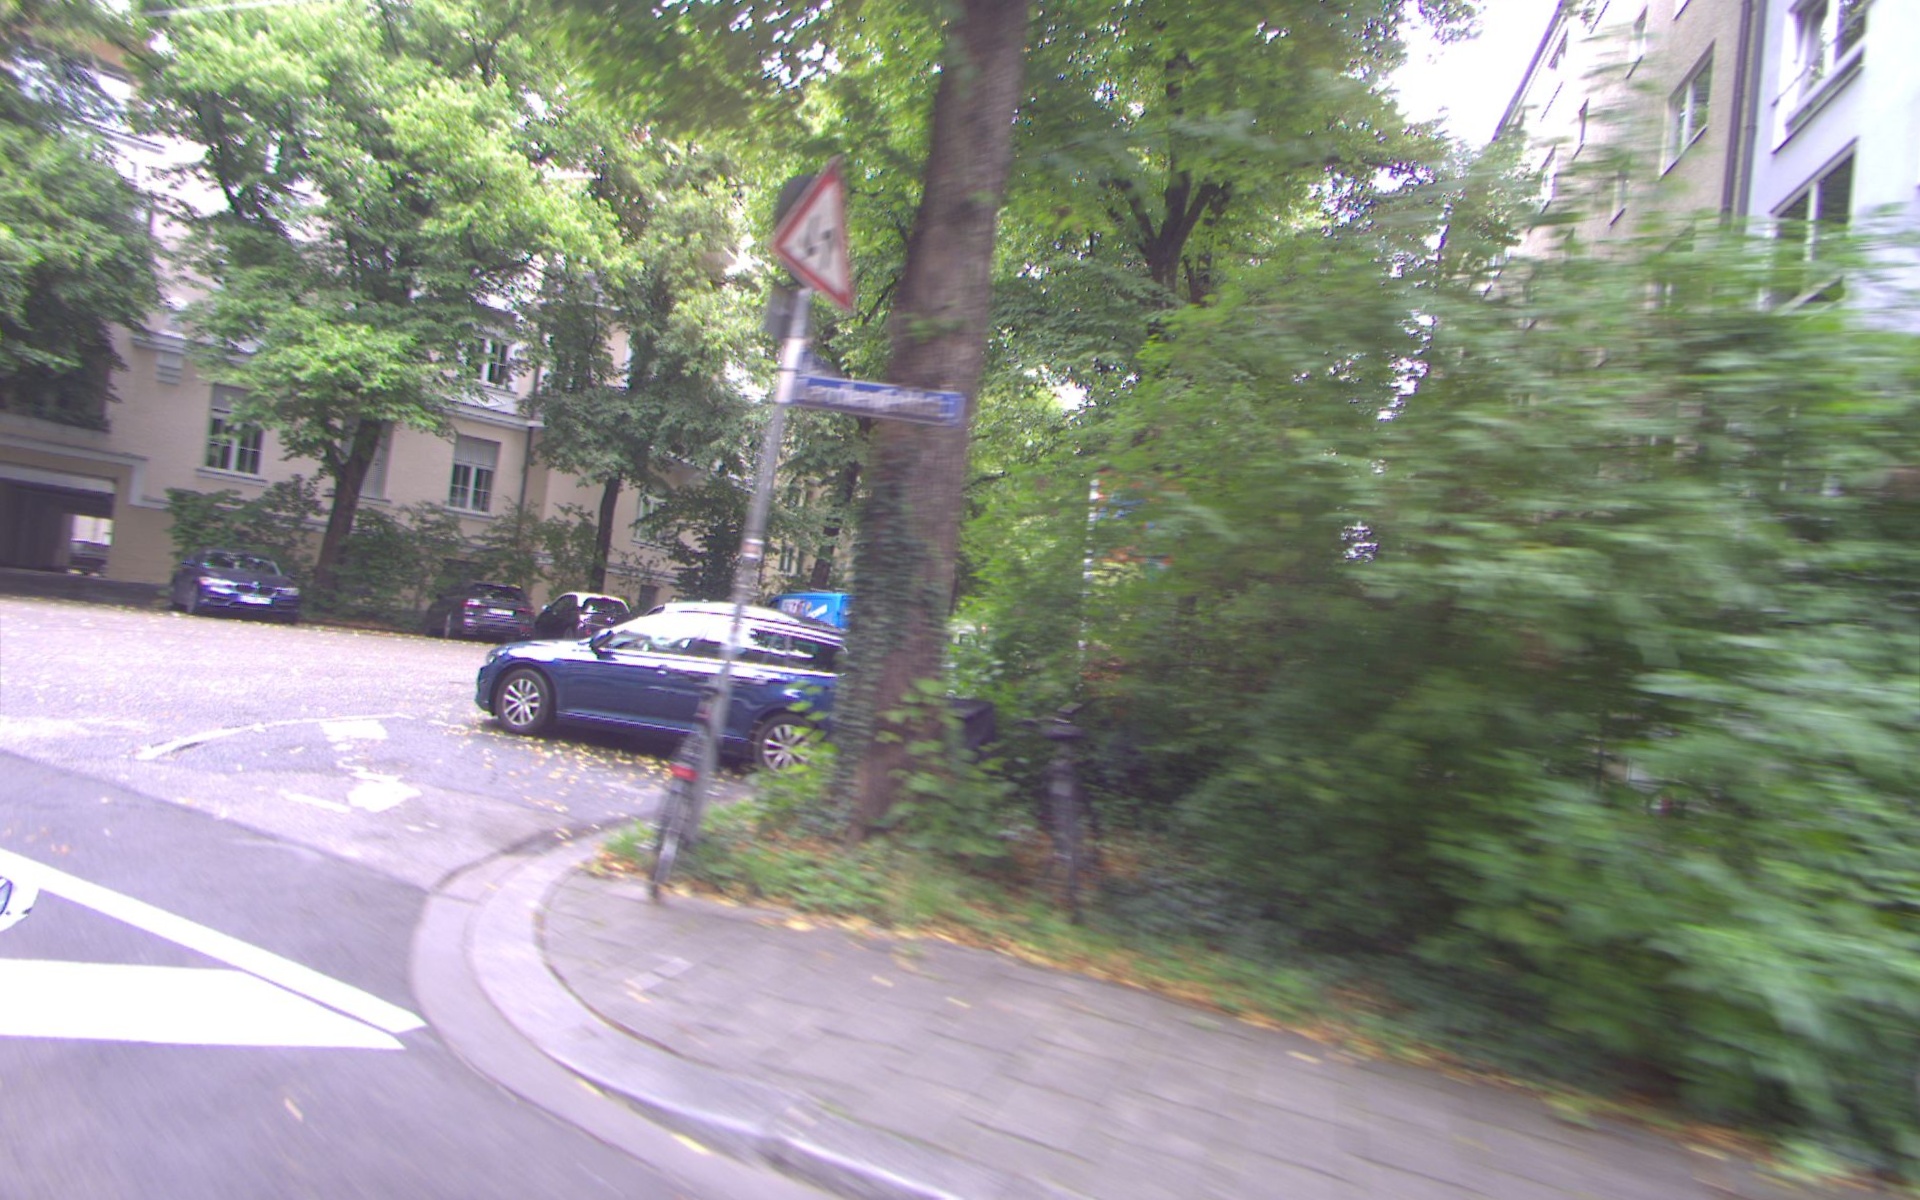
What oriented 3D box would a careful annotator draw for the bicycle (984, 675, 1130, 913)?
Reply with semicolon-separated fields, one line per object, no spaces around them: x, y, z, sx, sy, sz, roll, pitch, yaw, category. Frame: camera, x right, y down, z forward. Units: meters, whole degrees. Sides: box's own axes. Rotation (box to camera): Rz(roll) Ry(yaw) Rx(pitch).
0.571;1.012;5.767;0.594;1.068;1.637;7;-2;7;bicycle

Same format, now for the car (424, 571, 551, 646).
-11.244;0.212;23.797;1.848;1.441;4.126;8;-5;-36;car

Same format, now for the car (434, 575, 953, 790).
-2.606;0.782;10.314;4.643;1.393;1.963;7;-2;12;car

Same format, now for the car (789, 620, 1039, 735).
-0.741;1.332;17.724;4.017;1.410;1.737;7;-2;8;car

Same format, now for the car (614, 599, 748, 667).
-7.592;0.893;27.097;1.790;1.529;4.244;8;-6;-39;car

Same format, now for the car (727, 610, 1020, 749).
-1.227;1.156;15.101;3.873;1.464;1.829;7;-2;12;car

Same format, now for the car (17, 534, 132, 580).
-41.341;-1.982;47.019;1.635;1.535;3.839;6;-3;44;car

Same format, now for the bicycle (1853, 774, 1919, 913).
7.994;2.021;8.011;0.529;1.035;1.704;7;-2;15;bicycle

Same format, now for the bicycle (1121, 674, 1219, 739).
4.551;2.305;21.792;1.845;1.177;0.763;8;-2;-21;bicycle

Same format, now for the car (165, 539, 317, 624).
-14.900;-0.406;20.748;1.834;1.399;4.290;9;-4;-44;car

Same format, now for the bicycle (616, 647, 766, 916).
-1.448;0.895;5.559;0.546;1.151;1.770;7;-2;-13;bicycle

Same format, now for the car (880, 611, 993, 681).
-0.977;1.844;40.914;4.172;2.262;1.926;6;-2;41;car

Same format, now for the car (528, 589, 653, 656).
-9.533;0.601;25.817;1.819;1.440;3.715;8;-6;-38;car

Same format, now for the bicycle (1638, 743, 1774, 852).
9.014;2.353;12.241;0.641;1.035;1.704;7;-2;15;bicycle

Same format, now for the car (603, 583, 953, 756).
-2.284;0.856;12.908;3.909;1.573;1.758;7;-2;16;car

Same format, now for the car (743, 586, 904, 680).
-4.158;0.918;29.851;2.050;2.379;5.443;9;-5;-38;car
